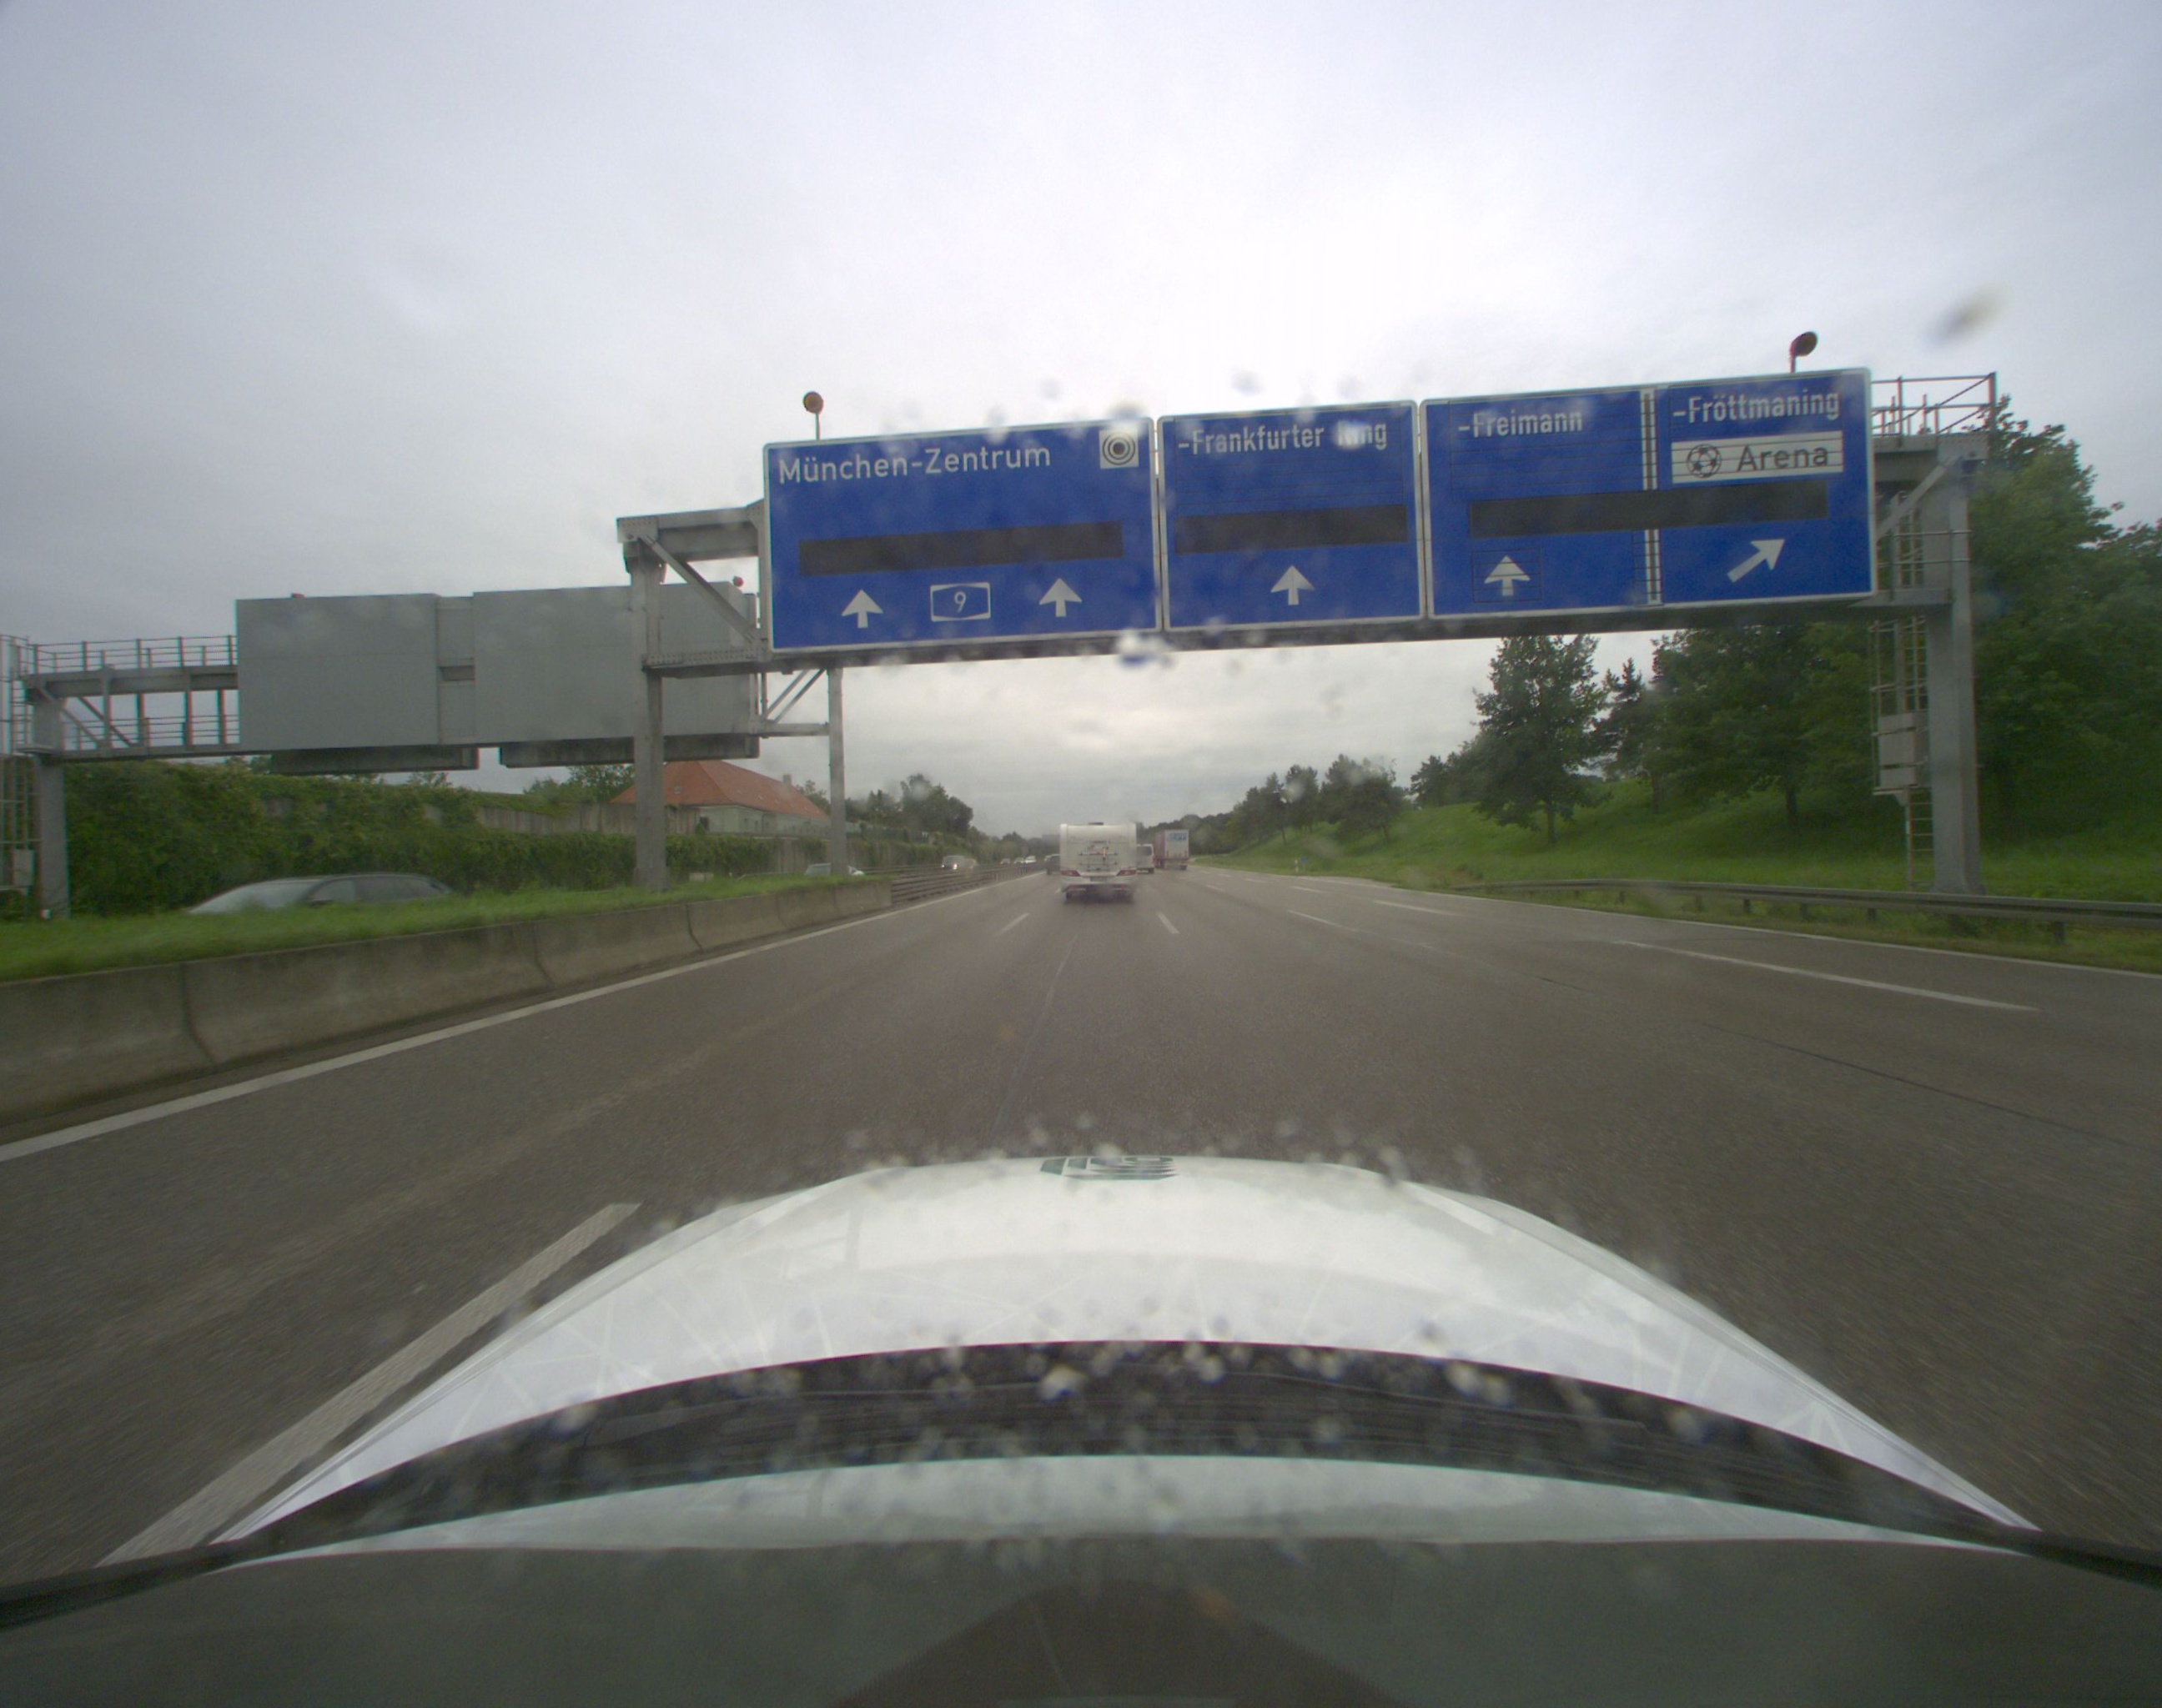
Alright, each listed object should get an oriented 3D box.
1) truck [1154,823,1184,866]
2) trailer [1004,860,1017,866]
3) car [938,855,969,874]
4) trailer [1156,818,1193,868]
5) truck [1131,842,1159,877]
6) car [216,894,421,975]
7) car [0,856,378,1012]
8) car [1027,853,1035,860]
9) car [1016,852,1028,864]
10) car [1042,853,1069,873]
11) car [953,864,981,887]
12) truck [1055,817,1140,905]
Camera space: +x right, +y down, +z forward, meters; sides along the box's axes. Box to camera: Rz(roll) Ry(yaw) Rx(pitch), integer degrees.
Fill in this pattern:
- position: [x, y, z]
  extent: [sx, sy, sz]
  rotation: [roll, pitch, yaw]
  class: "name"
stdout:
- position: [10.015, -1.023, 93.237]
  extent: [3.037, 4.839, 5.852]
  rotation: [0, -1, 2]
  class: "truck"
- position: [-14.692, 1.872, 170.380]
  extent: [2.122, 1.267, 5.250]
  rotation: [0, 0, 2]
  class: "trailer"
- position: [-13.622, 1.084, 87.434]
  extent: [2.201, 1.972, 6.273]
  rotation: [0, 0, 2]
  class: "car"
- position: [9.716, -1.028, 85.747]
  extent: [3.087, 4.922, 11.797]
  rotation: [0, 0, 3]
  class: "trailer"
- position: [5.250, 0.458, 67.567]
  extent: [2.046, 2.770, 5.550]
  rotation: [0, 0, 1]
  class: "truck"
- position: [-22.352, 2.272, 24.157]
  extent: [1.986, 2.014, 4.226]
  rotation: [0, 0, 2]
  class: "car"
- position: [-11.725, 0.818, 10.244]
  extent: [1.986, 1.543, 4.226]
  rotation: [-1, 0, 2]
  class: "car"
- position: [-15.056, 0.719, 245.213]
  extent: [1.983, 2.014, 4.006]
  rotation: [0, 0, 6]
  class: "car"
- position: [-10.942, 0.726, 150.902]
  extent: [1.926, 2.013, 4.732]
  rotation: [-1, 0, 0]
  class: "car"
- position: [-2.058, 0.720, 67.676]
  extent: [1.986, 1.600, 5.124]
  rotation: [0, 0, 1]
  class: "car"
- position: [-10.194, 1.892, 72.849]
  extent: [1.847, 2.014, 3.853]
  rotation: [0, 0, 2]
  class: "car"
- position: [0.562, 0.245, 27.980]
  extent: [2.651, 2.742, 5.078]
  rotation: [0, 0, 1]
  class: "truck"
